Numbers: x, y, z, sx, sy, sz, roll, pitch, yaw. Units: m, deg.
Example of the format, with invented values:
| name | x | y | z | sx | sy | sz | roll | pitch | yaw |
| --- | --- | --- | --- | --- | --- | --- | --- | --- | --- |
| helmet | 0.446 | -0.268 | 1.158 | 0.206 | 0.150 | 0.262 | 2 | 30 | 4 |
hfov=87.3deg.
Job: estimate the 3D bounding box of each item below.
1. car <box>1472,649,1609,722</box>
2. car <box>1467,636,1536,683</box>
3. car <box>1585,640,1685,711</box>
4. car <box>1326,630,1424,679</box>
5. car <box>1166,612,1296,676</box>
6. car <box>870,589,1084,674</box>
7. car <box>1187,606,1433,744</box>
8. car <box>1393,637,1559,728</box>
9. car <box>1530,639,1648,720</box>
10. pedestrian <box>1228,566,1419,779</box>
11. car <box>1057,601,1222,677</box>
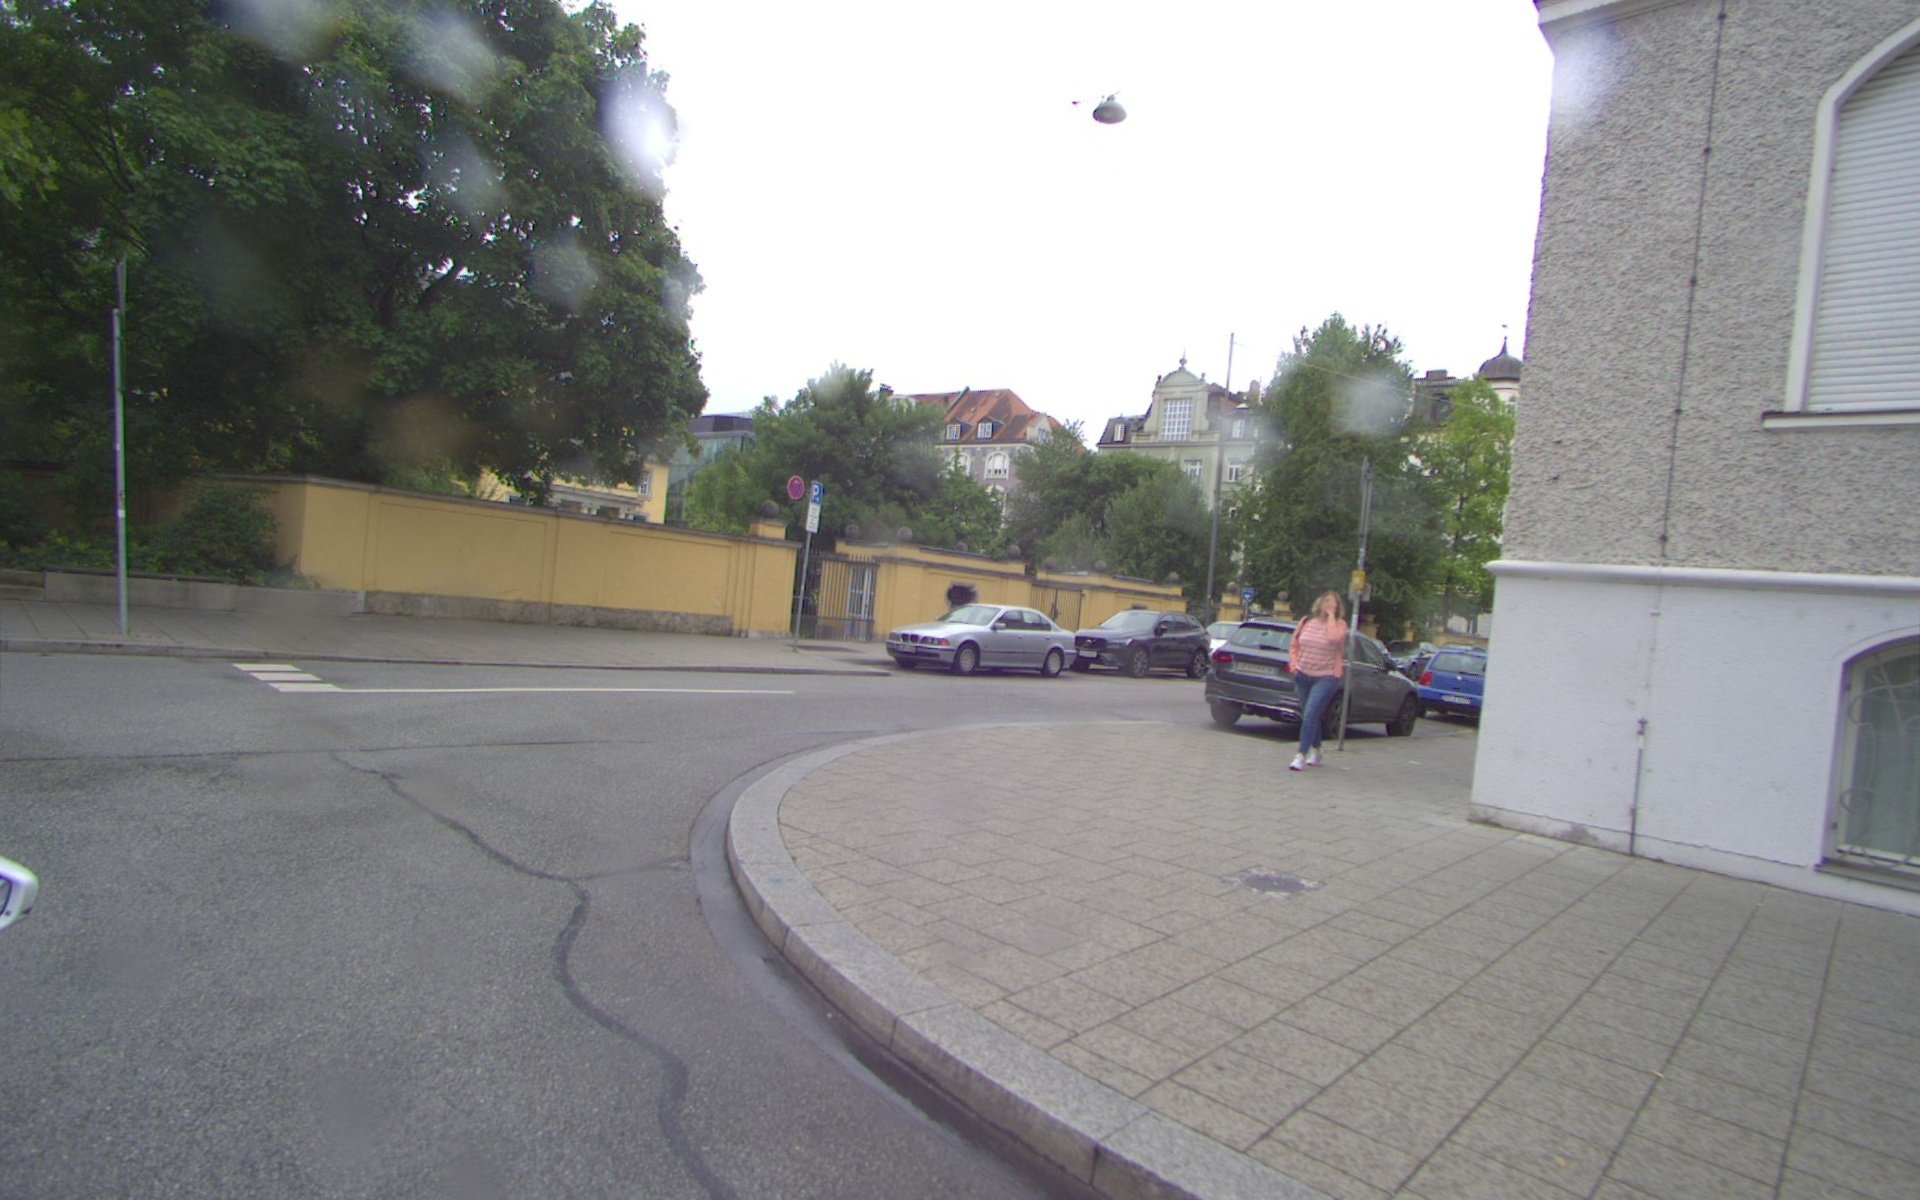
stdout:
| name | x | y | z | sx | sy | sz | roll | pitch | yaw |
| --- | --- | --- | --- | --- | --- | --- | --- | --- | --- |
| car | 14.145 | 2.052 | 24.391 | 1.866 | 1.393 | 4.395 | 7 | 2 | 42 |
| car | 24.940 | 2.756 | 46.270 | 1.751 | 1.909 | 4.043 | 7 | 1 | 42 |
| car | 21.802 | 2.420 | 32.403 | 1.866 | 1.908 | 4.395 | 8 | 2 | 42 |
| car | 14.843 | 1.964 | 35.880 | 1.751 | 1.463 | 4.379 | 6 | 1 | 42 |
| car | 7.906 | 1.304 | 29.100 | 1.800 | 1.550 | 4.380 | 6 | 1 | 41 |
| car | 0.471 | 0.701 | 20.660 | 1.800 | 1.420 | 4.548 | 6 | 1 | 41 |
| car | 5.502 | 1.126 | 15.478 | 1.866 | 1.637 | 4.395 | 8 | 2 | 42 |
| car | 10.853 | 1.697 | 21.015 | 1.866 | 1.483 | 4.395 | 7 | 2 | 42 |
| car | 17.596 | 2.202 | 28.057 | 1.866 | 1.877 | 4.395 | 8 | 2 | 42 |
| pedestrian | 3.538 | 0.678 | 9.859 | 1.080 | 1.897 | 1.201 | 4 | 2 | -34 |
| car | 4.520 | 1.001 | 24.863 | 1.800 | 1.550 | 4.548 | 6 | 1 | 41 |
